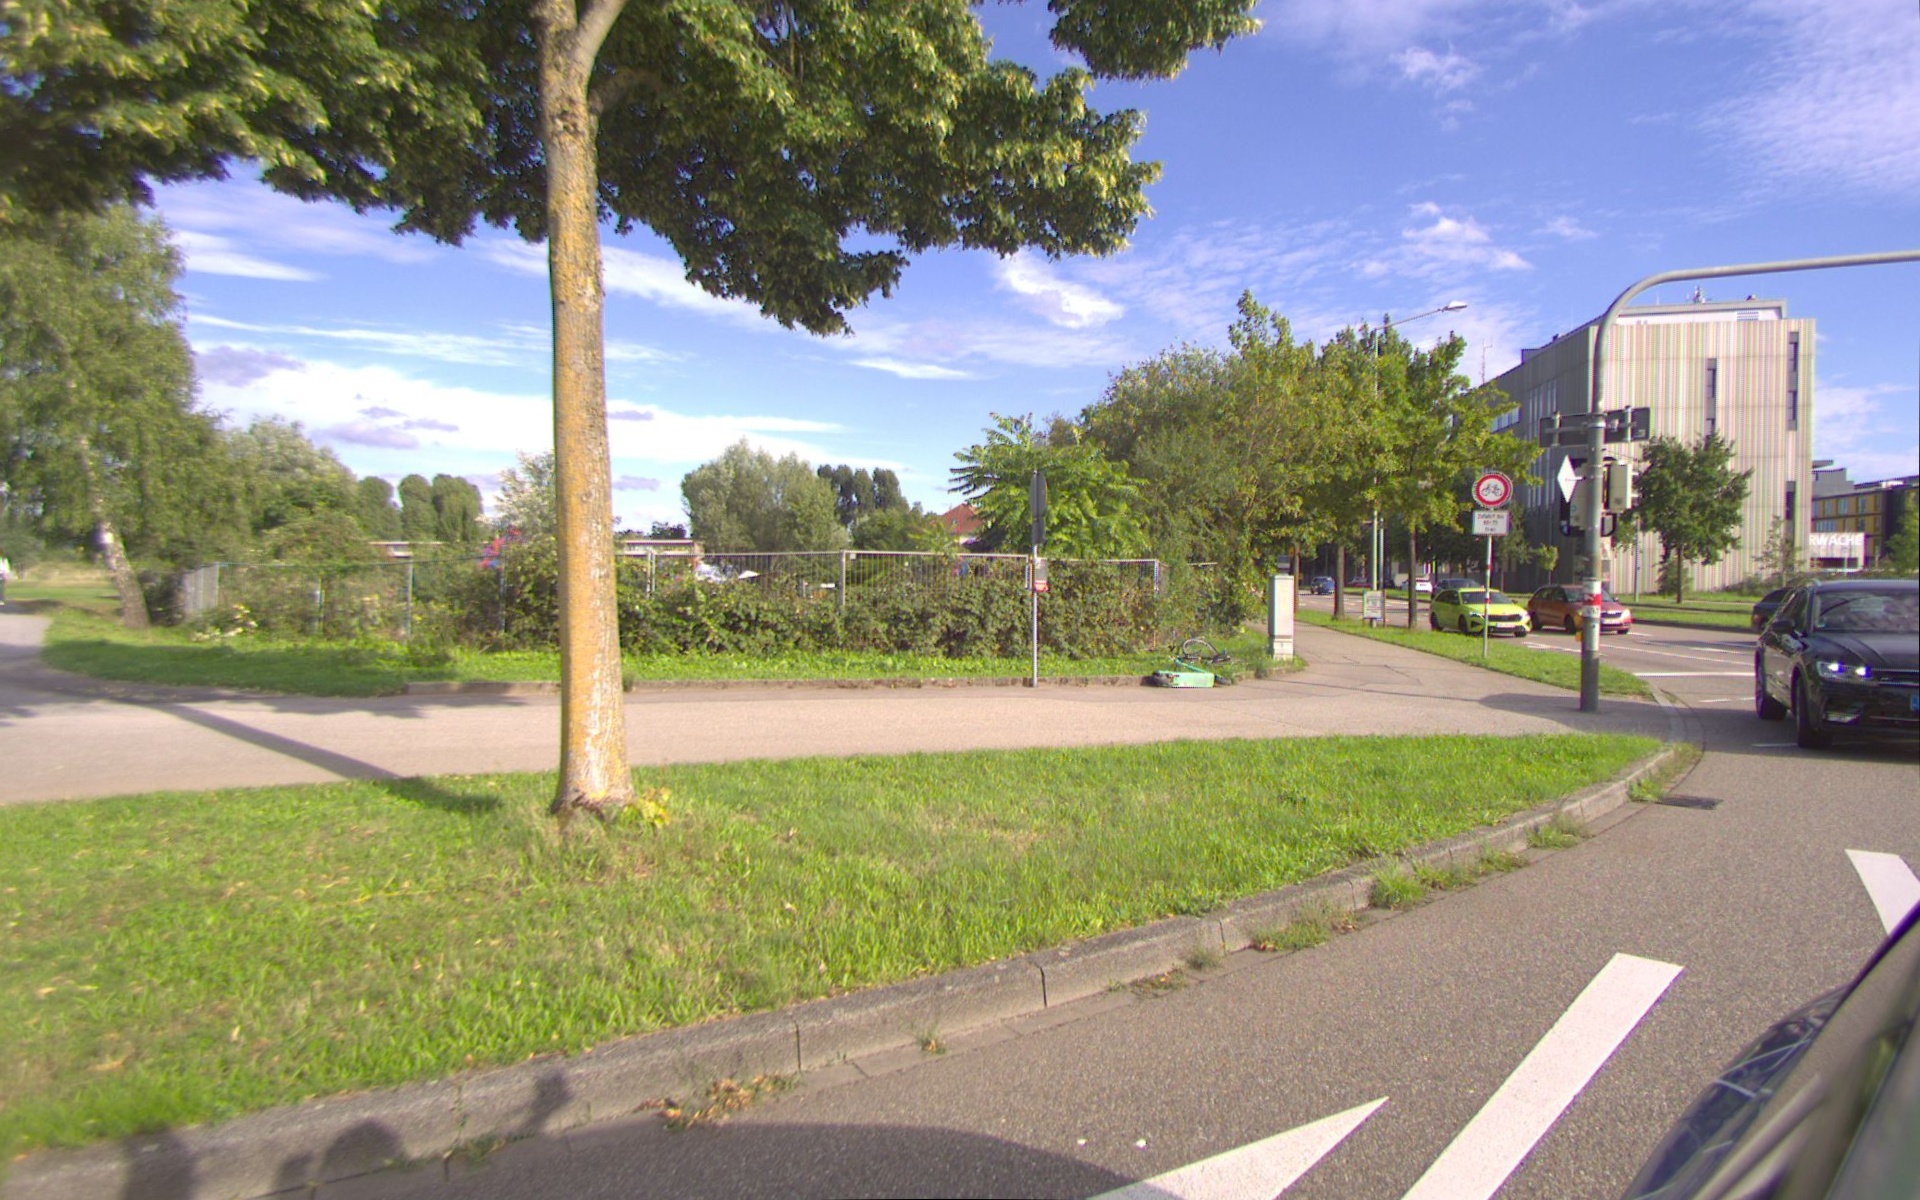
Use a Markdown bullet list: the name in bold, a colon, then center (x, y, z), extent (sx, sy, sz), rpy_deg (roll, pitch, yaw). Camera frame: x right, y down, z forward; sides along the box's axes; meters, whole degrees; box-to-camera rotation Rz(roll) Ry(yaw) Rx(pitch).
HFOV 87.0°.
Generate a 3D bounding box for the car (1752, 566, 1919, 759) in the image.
- **car**: center (9.883, 0.478, 10.696), extent (1.859, 1.676, 4.958), rpy_deg (1, 2, 32)

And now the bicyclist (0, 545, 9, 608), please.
- **bicyclist**: center (-24.330, -0.592, 25.285), extent (0.791, 1.566, 0.903), rpy_deg (-1, 2, -43)

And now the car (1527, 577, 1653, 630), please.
- **car**: center (19.439, 0.054, 31.469), extent (1.666, 1.493, 4.220), rpy_deg (-1, 1, 7)

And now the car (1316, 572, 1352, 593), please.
- **car**: center (31.572, -1.517, 85.513), extent (1.967, 1.682, 4.791), rpy_deg (1, 1, 9)

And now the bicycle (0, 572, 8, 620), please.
- **bicycle**: center (-24.368, -0.119, 25.327), extent (0.791, 1.140, 2.596), rpy_deg (-1, 2, -43)

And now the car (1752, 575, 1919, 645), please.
- **car**: center (20.673, 0.158, 23.300), extent (1.793, 1.438, 4.438), rpy_deg (-1, 1, 8)

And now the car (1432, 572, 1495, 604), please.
- **car**: center (25.228, -0.614, 50.853), extent (1.667, 1.493, 4.216), rpy_deg (-1, 2, 10)

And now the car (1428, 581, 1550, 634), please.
- **car**: center (16.235, 0.174, 31.326), extent (1.865, 1.438, 4.598), rpy_deg (-2, 1, 8)

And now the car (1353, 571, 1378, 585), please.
- **car**: center (42.920, -2.363, 107.159), extent (1.658, 1.451, 3.581), rpy_deg (0, 1, 10)

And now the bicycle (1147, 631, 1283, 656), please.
- **bicycle**: center (4.274, 0.728, 17.156), extent (1.068, 0.350, 2.253), rpy_deg (-1, -1, -24)

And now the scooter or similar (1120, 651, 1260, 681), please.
- **scooter or similar**: center (3.245, 0.932, 14.404), extent (1.521, 0.284, 1.296), rpy_deg (0, 1, -14)

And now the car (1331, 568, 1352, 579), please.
- **car**: center (50.943, -3.572, 135.091), extent (1.826, 1.451, 4.058), rpy_deg (0, 1, 9)

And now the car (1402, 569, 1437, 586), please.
- **car**: center (40.543, -1.960, 89.352), extent (1.657, 1.451, 3.986), rpy_deg (0, 1, 8)
